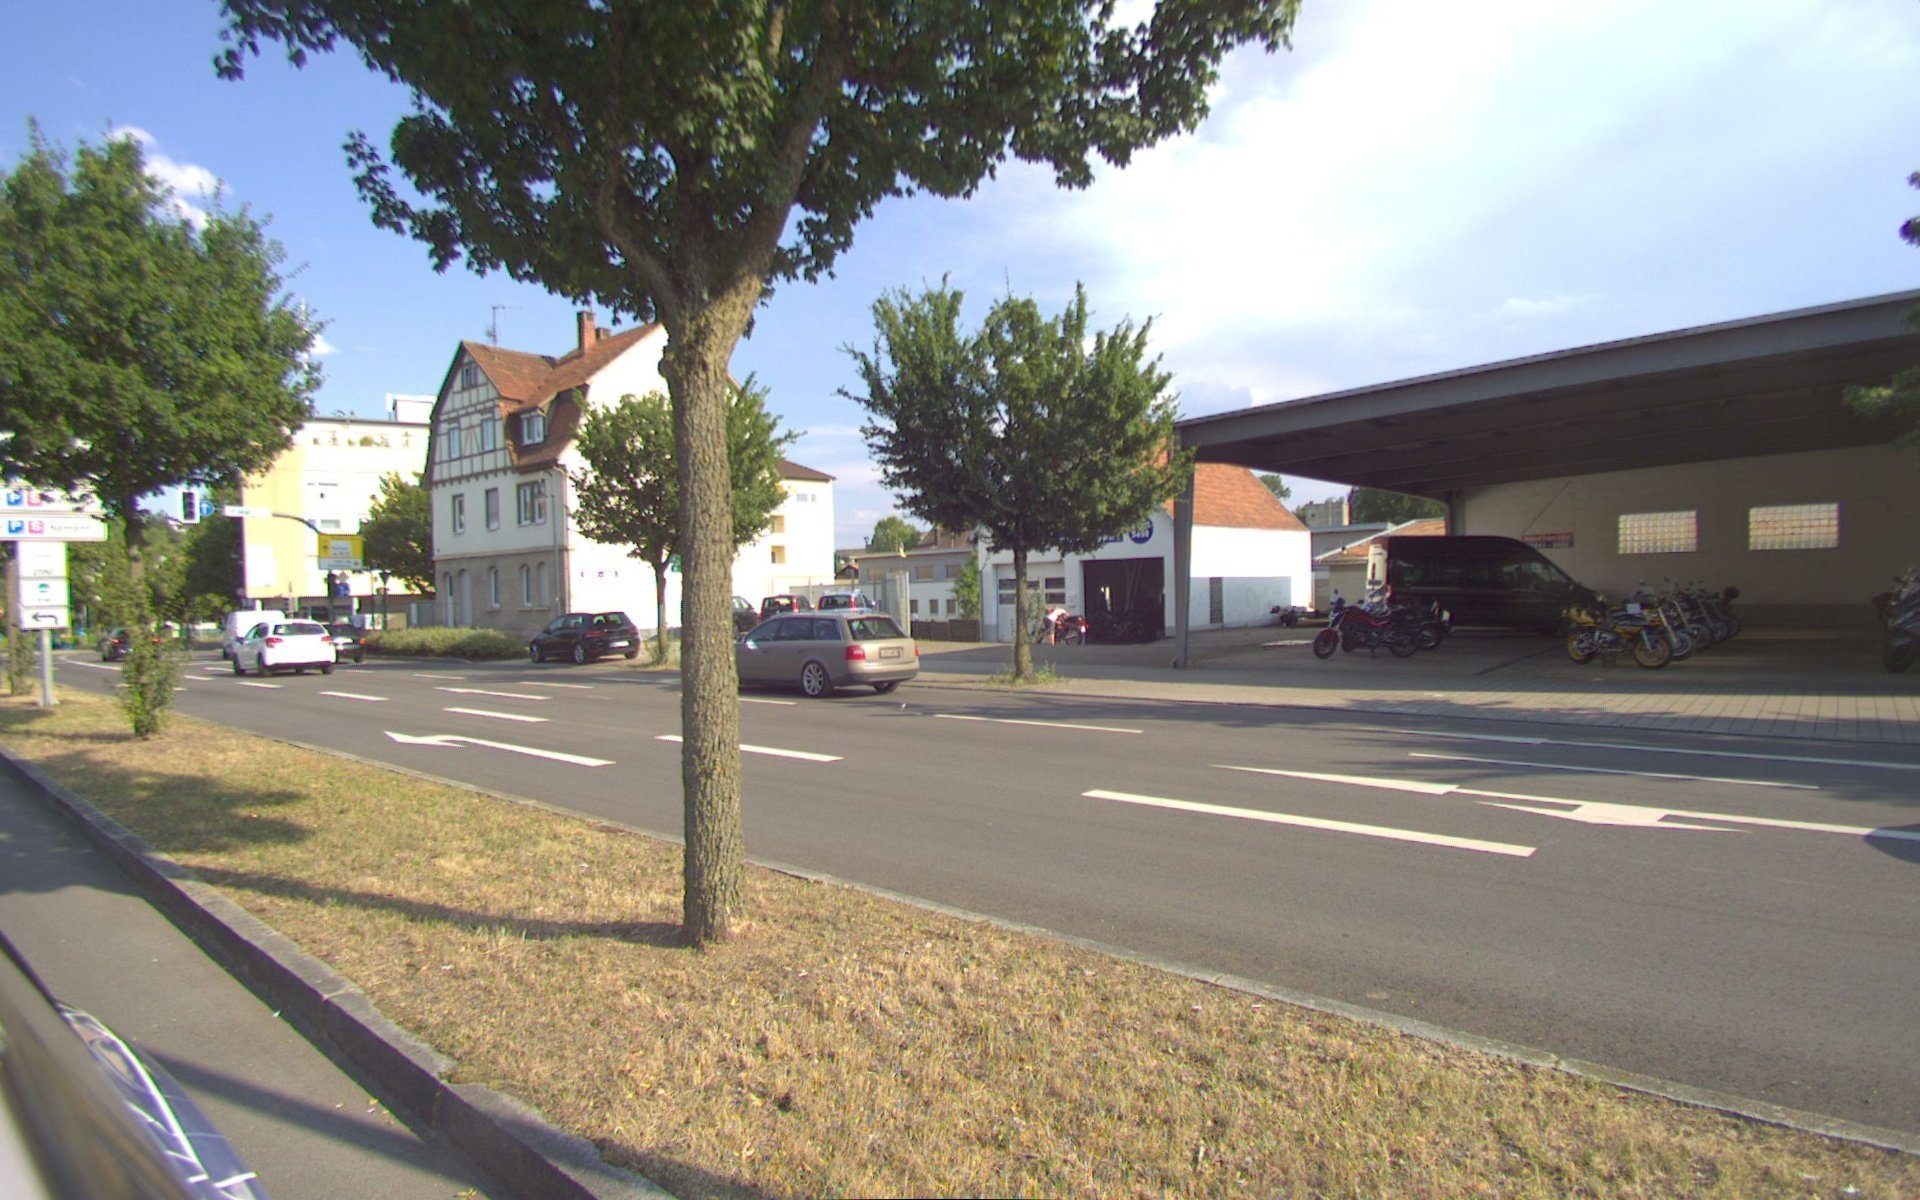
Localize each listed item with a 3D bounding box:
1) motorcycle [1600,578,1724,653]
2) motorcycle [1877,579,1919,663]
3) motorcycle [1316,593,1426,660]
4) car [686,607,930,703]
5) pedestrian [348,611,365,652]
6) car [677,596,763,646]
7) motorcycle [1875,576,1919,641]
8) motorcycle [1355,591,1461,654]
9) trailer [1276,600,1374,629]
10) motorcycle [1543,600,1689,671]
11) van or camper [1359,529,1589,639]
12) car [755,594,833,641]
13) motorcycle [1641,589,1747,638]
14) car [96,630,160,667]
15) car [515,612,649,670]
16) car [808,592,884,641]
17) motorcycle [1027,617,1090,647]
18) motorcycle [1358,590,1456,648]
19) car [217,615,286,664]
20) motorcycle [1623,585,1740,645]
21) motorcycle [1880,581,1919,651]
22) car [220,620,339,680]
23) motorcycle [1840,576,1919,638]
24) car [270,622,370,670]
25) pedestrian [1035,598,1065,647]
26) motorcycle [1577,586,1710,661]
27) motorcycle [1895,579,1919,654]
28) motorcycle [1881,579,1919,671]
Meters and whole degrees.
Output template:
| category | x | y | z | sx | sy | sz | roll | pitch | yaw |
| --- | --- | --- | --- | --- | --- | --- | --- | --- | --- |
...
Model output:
| category | x | y | z | sx | sy | sz | roll | pitch | yaw |
| --- | --- | --- | --- | --- | --- | --- | --- | --- | --- |
| motorcycle | 14.528 | 0.314 | 21.032 | 0.584 | 1.459 | 2.161 | -1 | 0 | -19 |
| motorcycle | 16.029 | 0.312 | 16.124 | 2.068 | 1.317 | 0.561 | -1 | 0 | 12 |
| motorcycle | 8.304 | 0.537 | 20.522 | 1.991 | 1.321 | 0.665 | -1 | 0 | 18 |
| car | -2.819 | 0.903 | 18.000 | 4.710 | 1.473 | 1.668 | -1 | 0 | 42 |
| pedestrian | -29.819 | 1.568 | 50.010 | 0.688 | 1.997 | 0.590 | -1 | -1 | -34 |
| car | -8.672 | 0.722 | 36.898 | 1.746 | 1.563 | 3.992 | -2 | 1 | 7 |
| motorcycle | 20.146 | 0.166 | 20.709 | 2.068 | 1.317 | 0.561 | -1 | 0 | 12 |
| motorcycle | 9.771 | 0.482 | 22.107 | 1.982 | 1.321 | 0.649 | -1 | 0 | 4 |
| trailer | 13.225 | 0.512 | 36.591 | 2.448 | 0.831 | 3.152 | -1 | 2 | 38 |
| motorcycle | 11.233 | 0.588 | 17.438 | 0.620 | 1.132 | 2.161 | -1 | 0 | -19 |
| van or camper | 13.532 | -0.383 | 26.940 | 4.979 | 2.700 | 1.995 | -1 | 0 | 8 |
| car | -5.955 | 0.610 | 36.642 | 1.746 | 1.564 | 3.992 | -1 | 0 | 7 |
| motorcycle | 17.942 | 0.330 | 24.808 | 0.553 | 1.131 | 2.161 | -1 | 0 | -19 |
| car | -36.017 | 2.058 | 43.765 | 1.749 | 1.462 | 4.110 | -1 | -1 | -45 |
| car | -11.050 | 1.151 | 29.444 | 4.193 | 1.454 | 1.816 | -1 | 3 | 41 |
| car | -3.867 | 0.552 | 35.058 | 1.746 | 1.564 | 3.992 | -1 | 0 | 7 |
| motorcycle | 3.157 | 1.014 | 32.700 | 2.212 | 0.927 | 0.500 | -1 | 0 | 45 |
| motorcycle | 10.537 | 0.441 | 23.888 | 1.982 | 1.321 | 0.649 | -1 | 0 | 4 |
| car | -29.966 | 1.622 | 42.729 | 1.801 | 1.938 | 4.951 | -1 | -1 | -42 |
| motorcycle | 16.222 | 0.334 | 22.835 | 0.636 | 1.268 | 2.161 | -1 | 0 | -19 |
| motorcycle | 18.889 | 0.276 | 19.197 | 2.068 | 1.317 | 0.581 | -1 | 0 | 12 |
| car | -18.775 | 1.326 | 27.860 | 3.954 | 1.508 | 1.782 | -1 | 0 | 42 |
| motorcycle | 20.730 | 0.144 | 22.238 | 2.068 | 1.317 | 0.561 | -1 | 0 | 12 |
| car | -21.995 | 1.537 | 34.709 | 4.244 | 1.508 | 1.788 | -1 | 0 | 42 |
| pedestrian | 2.853 | 0.716 | 32.186 | 0.643 | 1.535 | 0.675 | -1 | -1 | -41 |
| motorcycle | 12.880 | 0.426 | 19.166 | 0.553 | 1.340 | 2.161 | -1 | 0 | -19 |
| motorcycle | 17.785 | 0.267 | 17.682 | 2.068 | 1.317 | 0.621 | -1 | 0 | 12 |
| motorcycle | 14.614 | 0.334 | 14.477 | 2.093 | 1.317 | 0.561 | -1 | 0 | 12 |
